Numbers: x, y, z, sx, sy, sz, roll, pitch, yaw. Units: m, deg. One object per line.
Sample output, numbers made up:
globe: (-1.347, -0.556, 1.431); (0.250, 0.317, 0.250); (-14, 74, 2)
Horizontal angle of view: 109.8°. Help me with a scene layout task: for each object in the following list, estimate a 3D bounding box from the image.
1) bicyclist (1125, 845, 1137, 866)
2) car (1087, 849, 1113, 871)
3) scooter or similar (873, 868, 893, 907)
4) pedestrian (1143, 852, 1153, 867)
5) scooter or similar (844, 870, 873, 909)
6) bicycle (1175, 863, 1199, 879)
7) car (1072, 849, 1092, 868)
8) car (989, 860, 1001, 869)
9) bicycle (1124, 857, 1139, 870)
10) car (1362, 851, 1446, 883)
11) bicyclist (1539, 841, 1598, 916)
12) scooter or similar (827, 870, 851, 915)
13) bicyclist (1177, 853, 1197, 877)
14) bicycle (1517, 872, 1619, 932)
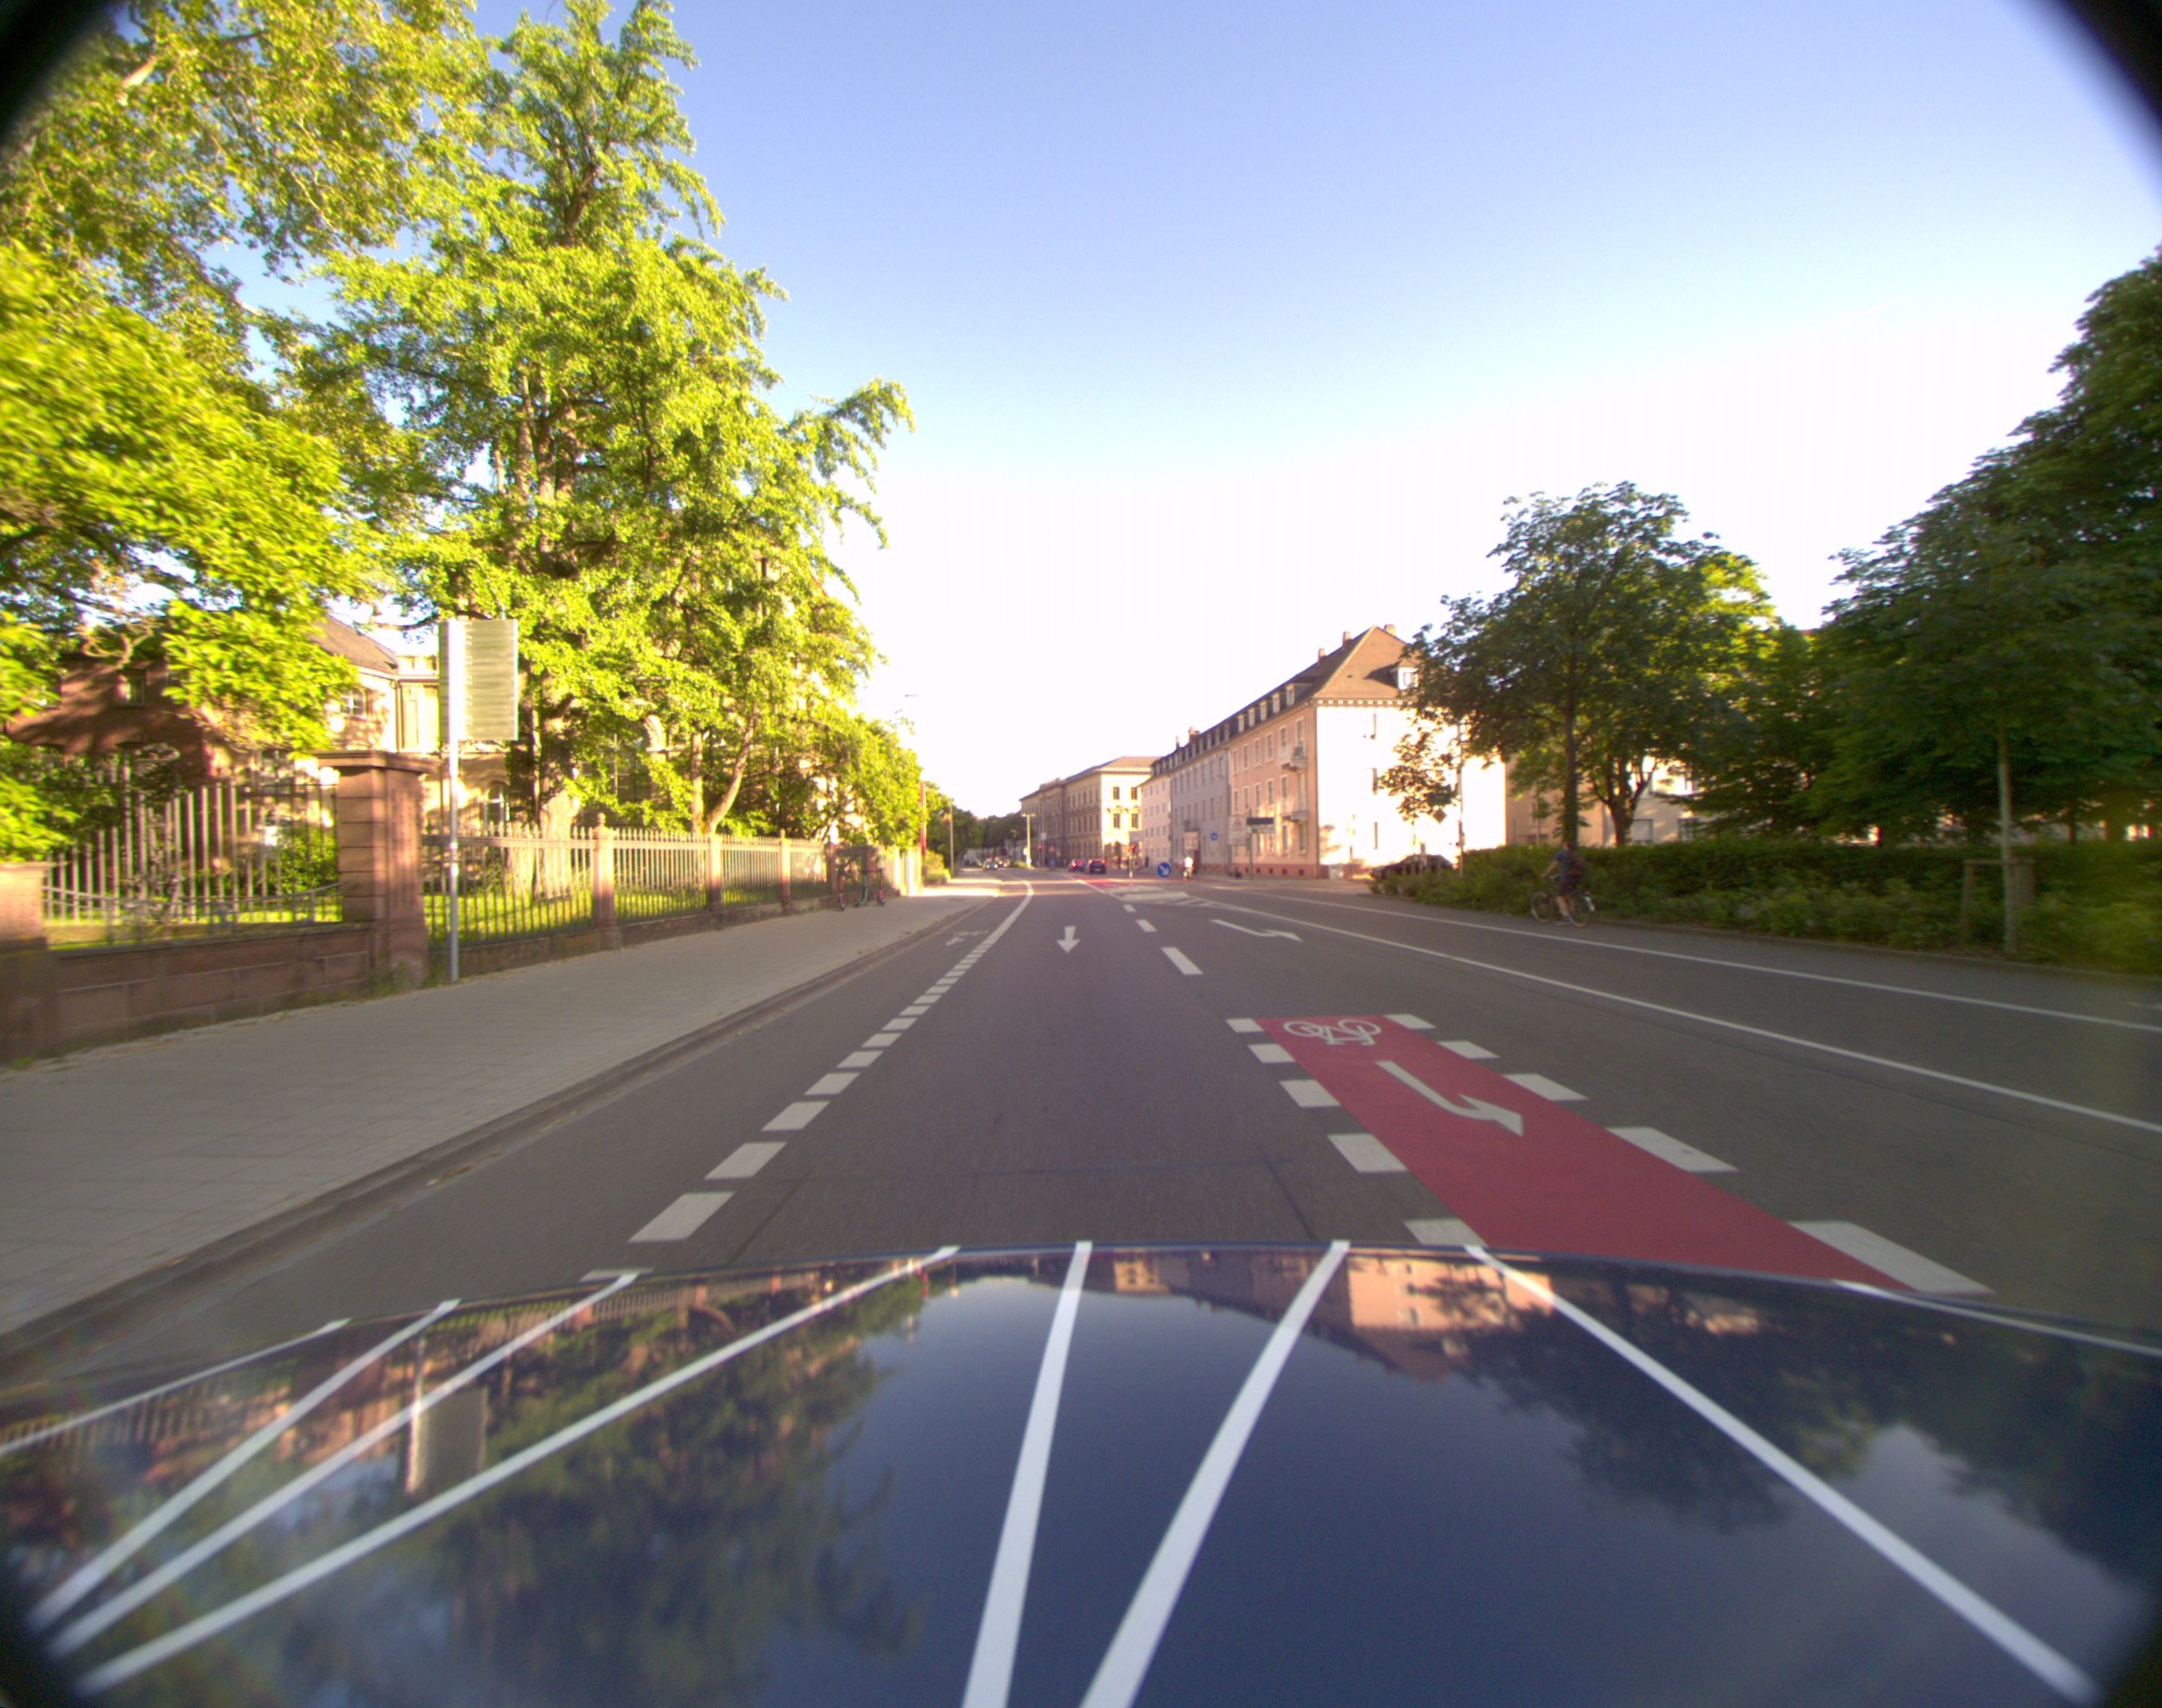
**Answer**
bicyclist: (4.834, 0.157, 73.343); (0.956, 2.002, 1.307); (-1, 0, -8)
car: (1.739, 0.518, 69.881); (1.999, 2.002, 3.998); (0, 0, -4)
scooter or similar: (-6.533, 1.084, 25.130); (0.517, 1.233, 1.521); (-1, 0, -10)
pedestrian: (8.364, 0.677, 94.684); (0.949, 1.894, 1.062); (-2, 1, -6)
scooter or similar: (-7.032, 1.103, 24.060); (0.576, 1.177, 1.487); (-1, 0, -6)
bicycle: (6.544, 1.028, 47.064); (0.663, 0.907, 2.861); (0, 0, -8)
car: (0.116, 0.508, 85.129); (1.999, 2.002, 3.998); (0, 0, -4)
car: (-13.176, 1.579, 116.754); (1.710, 1.397, 4.262); (-1, 0, -6)
bicycle: (4.854, 0.863, 73.230); (0.956, 1.216, 2.777); (0, 0, -8)
car: (18.643, 0.708, 43.933); (4.000, 1.652, 1.998); (-2, 1, -8)
bicyclist: (10.417, 0.511, 16.252); (0.691, 1.553, 0.838); (0, 1, -2)
scooter or similar: (-7.061, 1.096, 22.207); (0.576, 1.246, 1.486); (-1, 0, -14)
bicyclist: (6.540, 0.693, 47.045); (1.026, 1.481, 0.870); (0, 1, -8)
bicycle: (10.411, 0.992, 16.368); (0.697, 1.152, 2.245); (0, 0, -2)
